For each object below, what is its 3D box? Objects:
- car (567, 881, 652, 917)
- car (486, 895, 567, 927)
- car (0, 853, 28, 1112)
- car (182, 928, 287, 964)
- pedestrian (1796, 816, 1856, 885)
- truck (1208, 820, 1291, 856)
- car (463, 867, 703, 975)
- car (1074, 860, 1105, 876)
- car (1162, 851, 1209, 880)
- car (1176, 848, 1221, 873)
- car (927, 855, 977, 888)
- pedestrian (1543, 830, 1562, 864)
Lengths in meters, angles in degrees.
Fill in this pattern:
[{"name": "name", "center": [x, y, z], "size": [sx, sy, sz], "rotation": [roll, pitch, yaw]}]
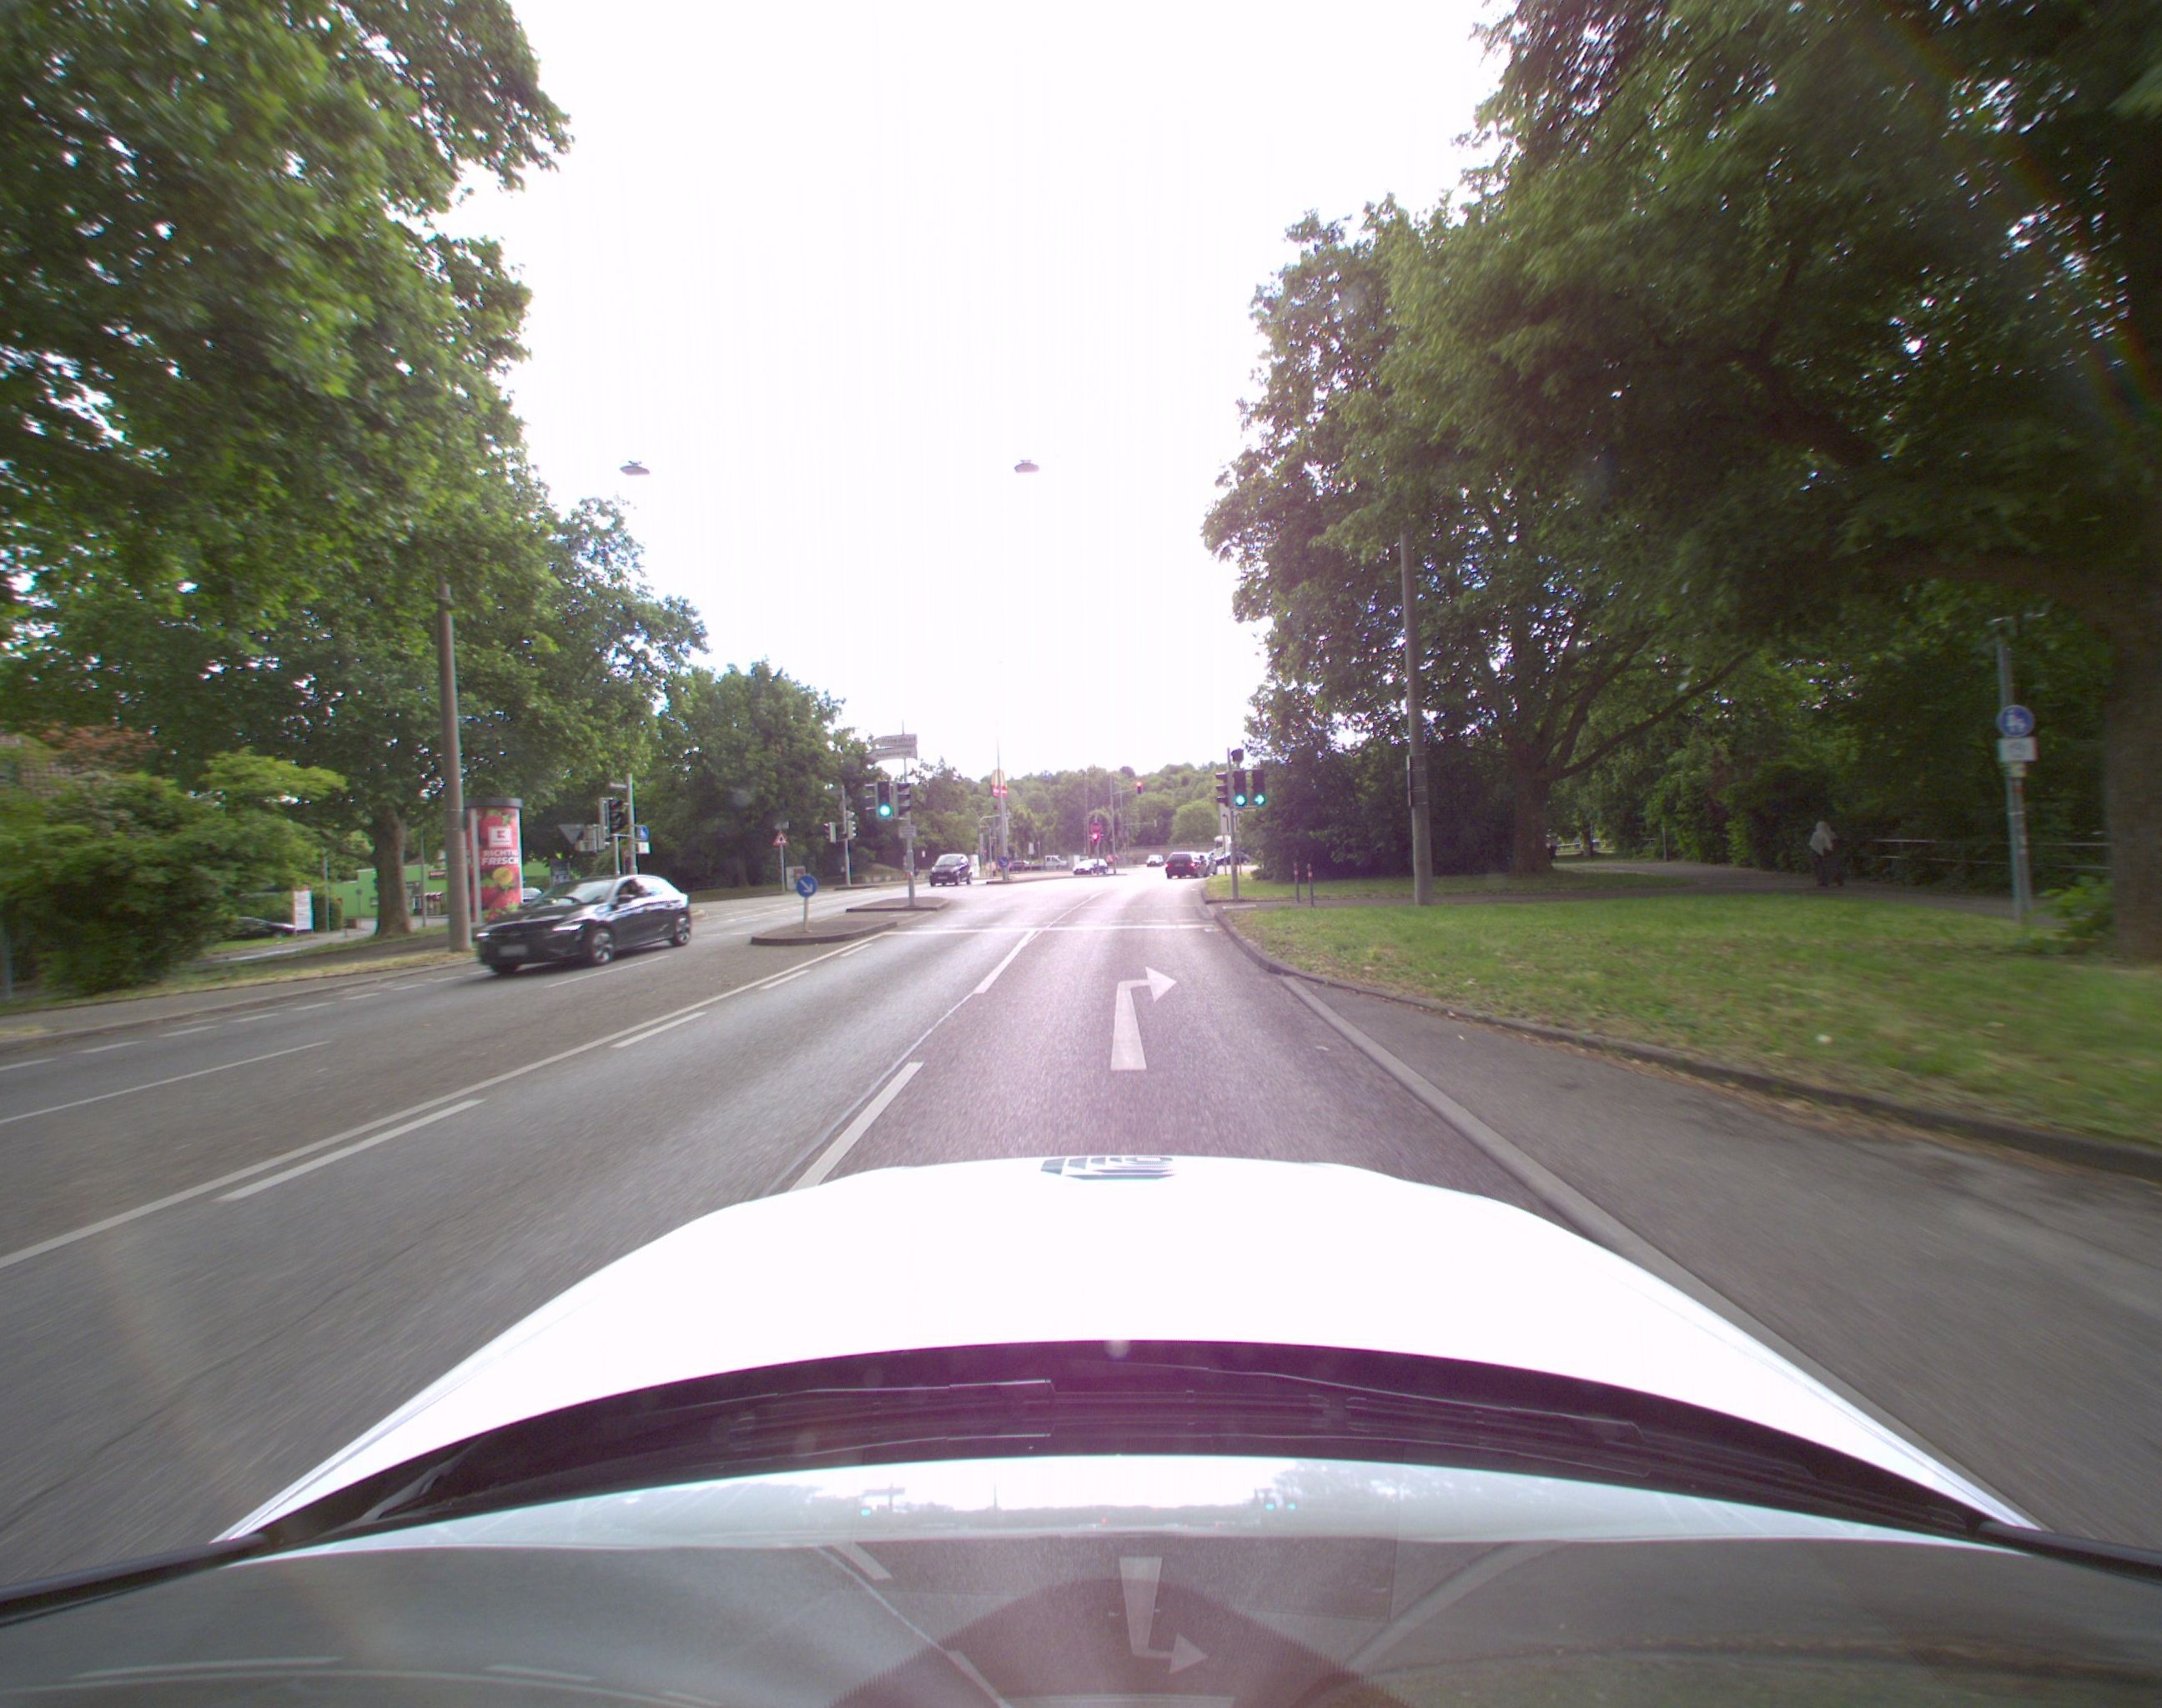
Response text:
[{"name": "car", "center": [-22.613, 2.161, 39.060], "size": [3.805, 1.479, 1.837], "rotation": [-3, 0, 30]}, {"name": "car", "center": [-30.401, 3.148, 44.615], "size": [4.215, 1.546, 2.013], "rotation": [-3, -1, 31]}, {"name": "car", "center": [-8.388, 0.934, 3.300], "size": [1.904, 1.763, 4.753], "rotation": [-3, 0, 1]}, {"name": "car", "center": [-47.171, 5.091, 45.430], "size": [1.741, 1.564, 3.757], "rotation": [-3, -1, 33]}, {"name": "pedestrian", "center": [17.542, -0.075, 19.185], "size": [0.680, 1.551, 0.744], "rotation": [-3, -1, 7]}, {"name": "truck", "center": [20.268, -1.842, 97.859], "size": [9.015, 3.588, 3.238], "rotation": [-4, -2, 26]}, {"name": "car", "center": [-8.321, 1.027, 14.083], "size": [1.563, 1.382, 3.950], "rotation": [-4, 1, 1]}, {"name": "car", "center": [0.777, 1.250, 73.477], "size": [1.664, 1.366, 4.329], "rotation": [-2, 0, 16]}, {"name": "car", "center": [6.061, 0.620, 46.696], "size": [1.808, 1.509, 4.595], "rotation": [-3, -1, 18]}, {"name": "car", "center": [7.763, 0.409, 53.429], "size": [1.711, 1.530, 4.172], "rotation": [-3, -1, 25]}, {"name": "car", "center": [-6.477, 0.842, 41.125], "size": [1.560, 1.527, 3.196], "rotation": [-2, 1, 8]}, {"name": "pedestrian", "center": [21.677, -0.324, 37.430], "size": [0.506, 1.531, 0.781], "rotation": [-3, -1, 17]}]
